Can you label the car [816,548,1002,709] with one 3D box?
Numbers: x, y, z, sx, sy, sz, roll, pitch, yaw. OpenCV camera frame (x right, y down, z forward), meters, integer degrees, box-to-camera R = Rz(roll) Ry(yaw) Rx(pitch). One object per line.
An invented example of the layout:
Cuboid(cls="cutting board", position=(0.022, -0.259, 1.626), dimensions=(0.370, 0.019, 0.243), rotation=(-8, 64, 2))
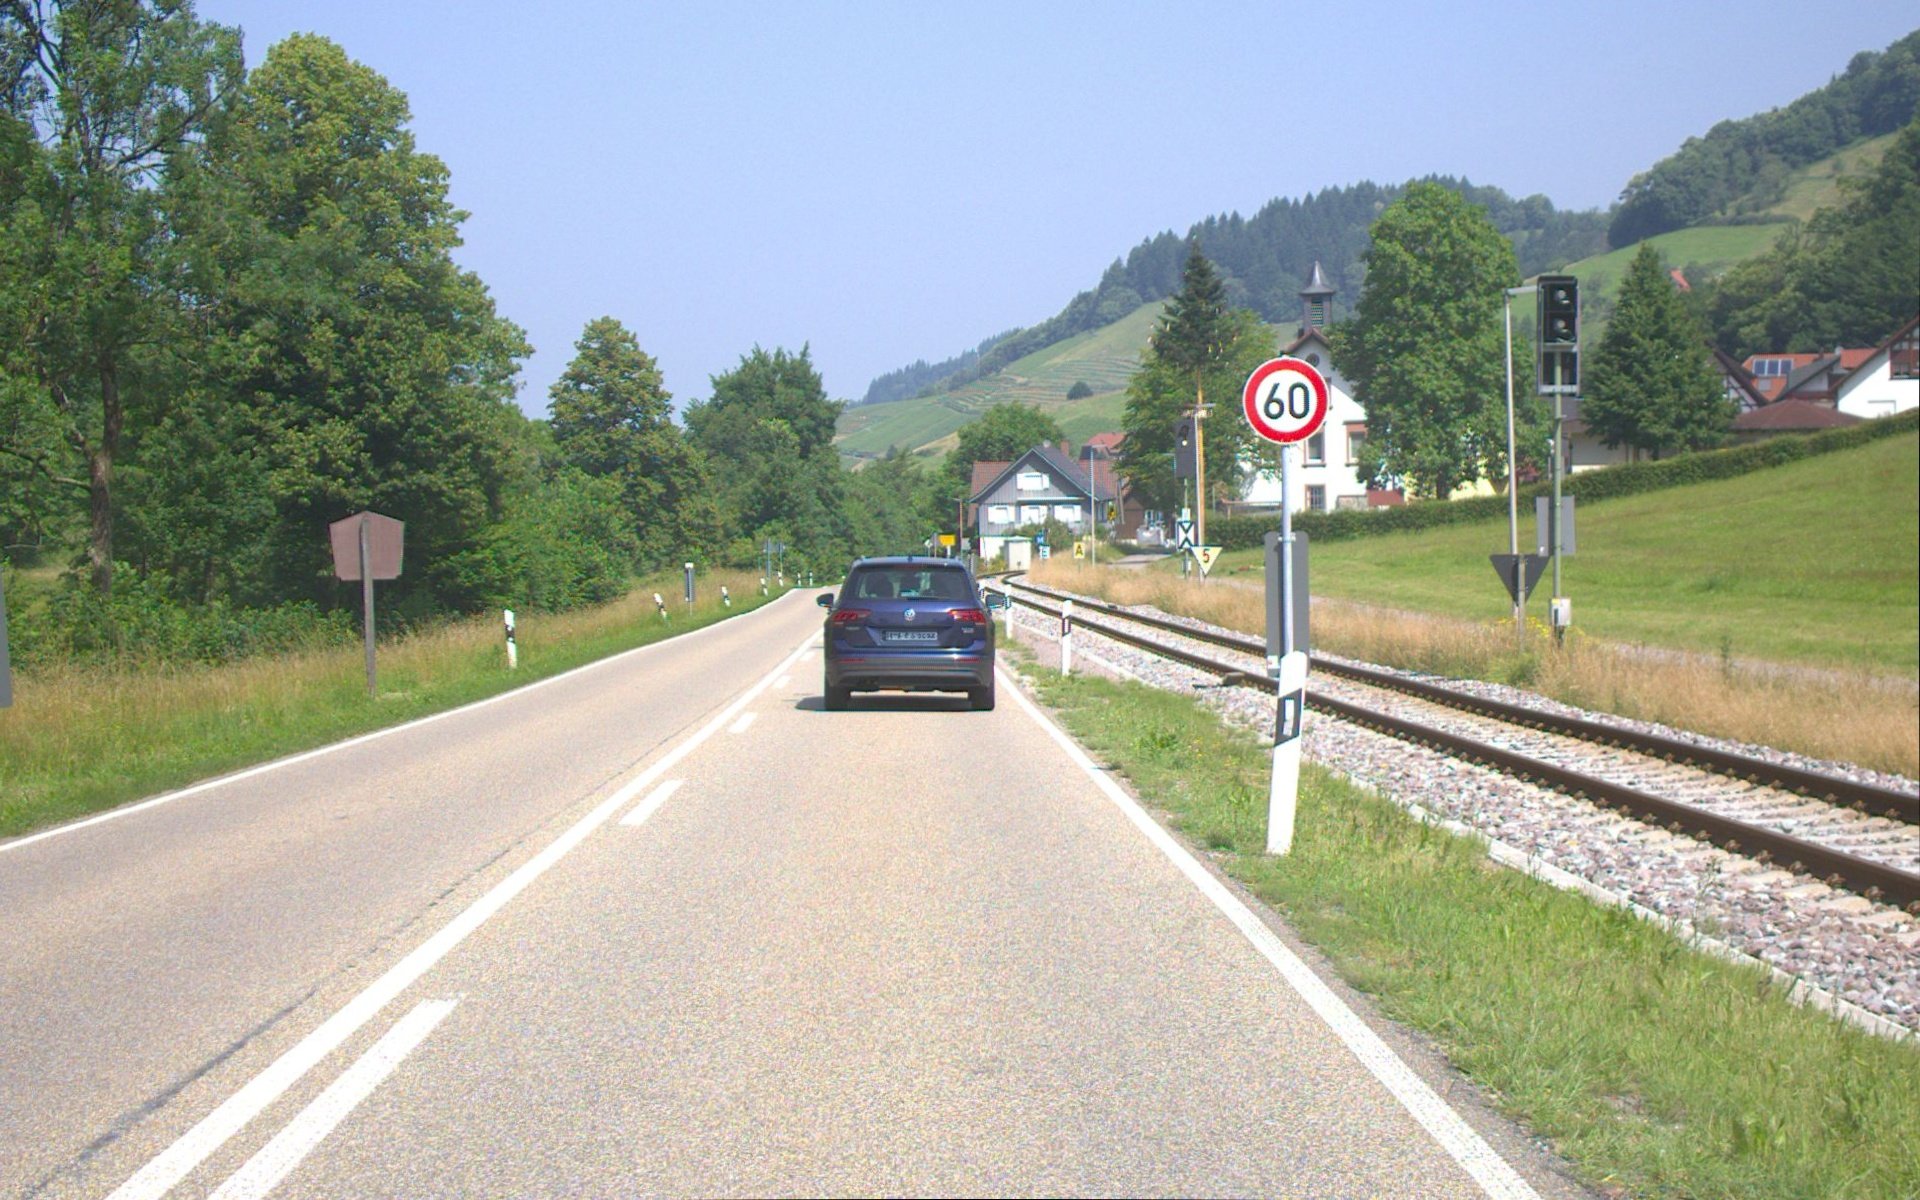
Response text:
Cuboid(cls="car", position=(-0.502, 0.260, 37.300), dimensions=(1.852, 1.643, 4.140), rotation=(0, 1, 1))
